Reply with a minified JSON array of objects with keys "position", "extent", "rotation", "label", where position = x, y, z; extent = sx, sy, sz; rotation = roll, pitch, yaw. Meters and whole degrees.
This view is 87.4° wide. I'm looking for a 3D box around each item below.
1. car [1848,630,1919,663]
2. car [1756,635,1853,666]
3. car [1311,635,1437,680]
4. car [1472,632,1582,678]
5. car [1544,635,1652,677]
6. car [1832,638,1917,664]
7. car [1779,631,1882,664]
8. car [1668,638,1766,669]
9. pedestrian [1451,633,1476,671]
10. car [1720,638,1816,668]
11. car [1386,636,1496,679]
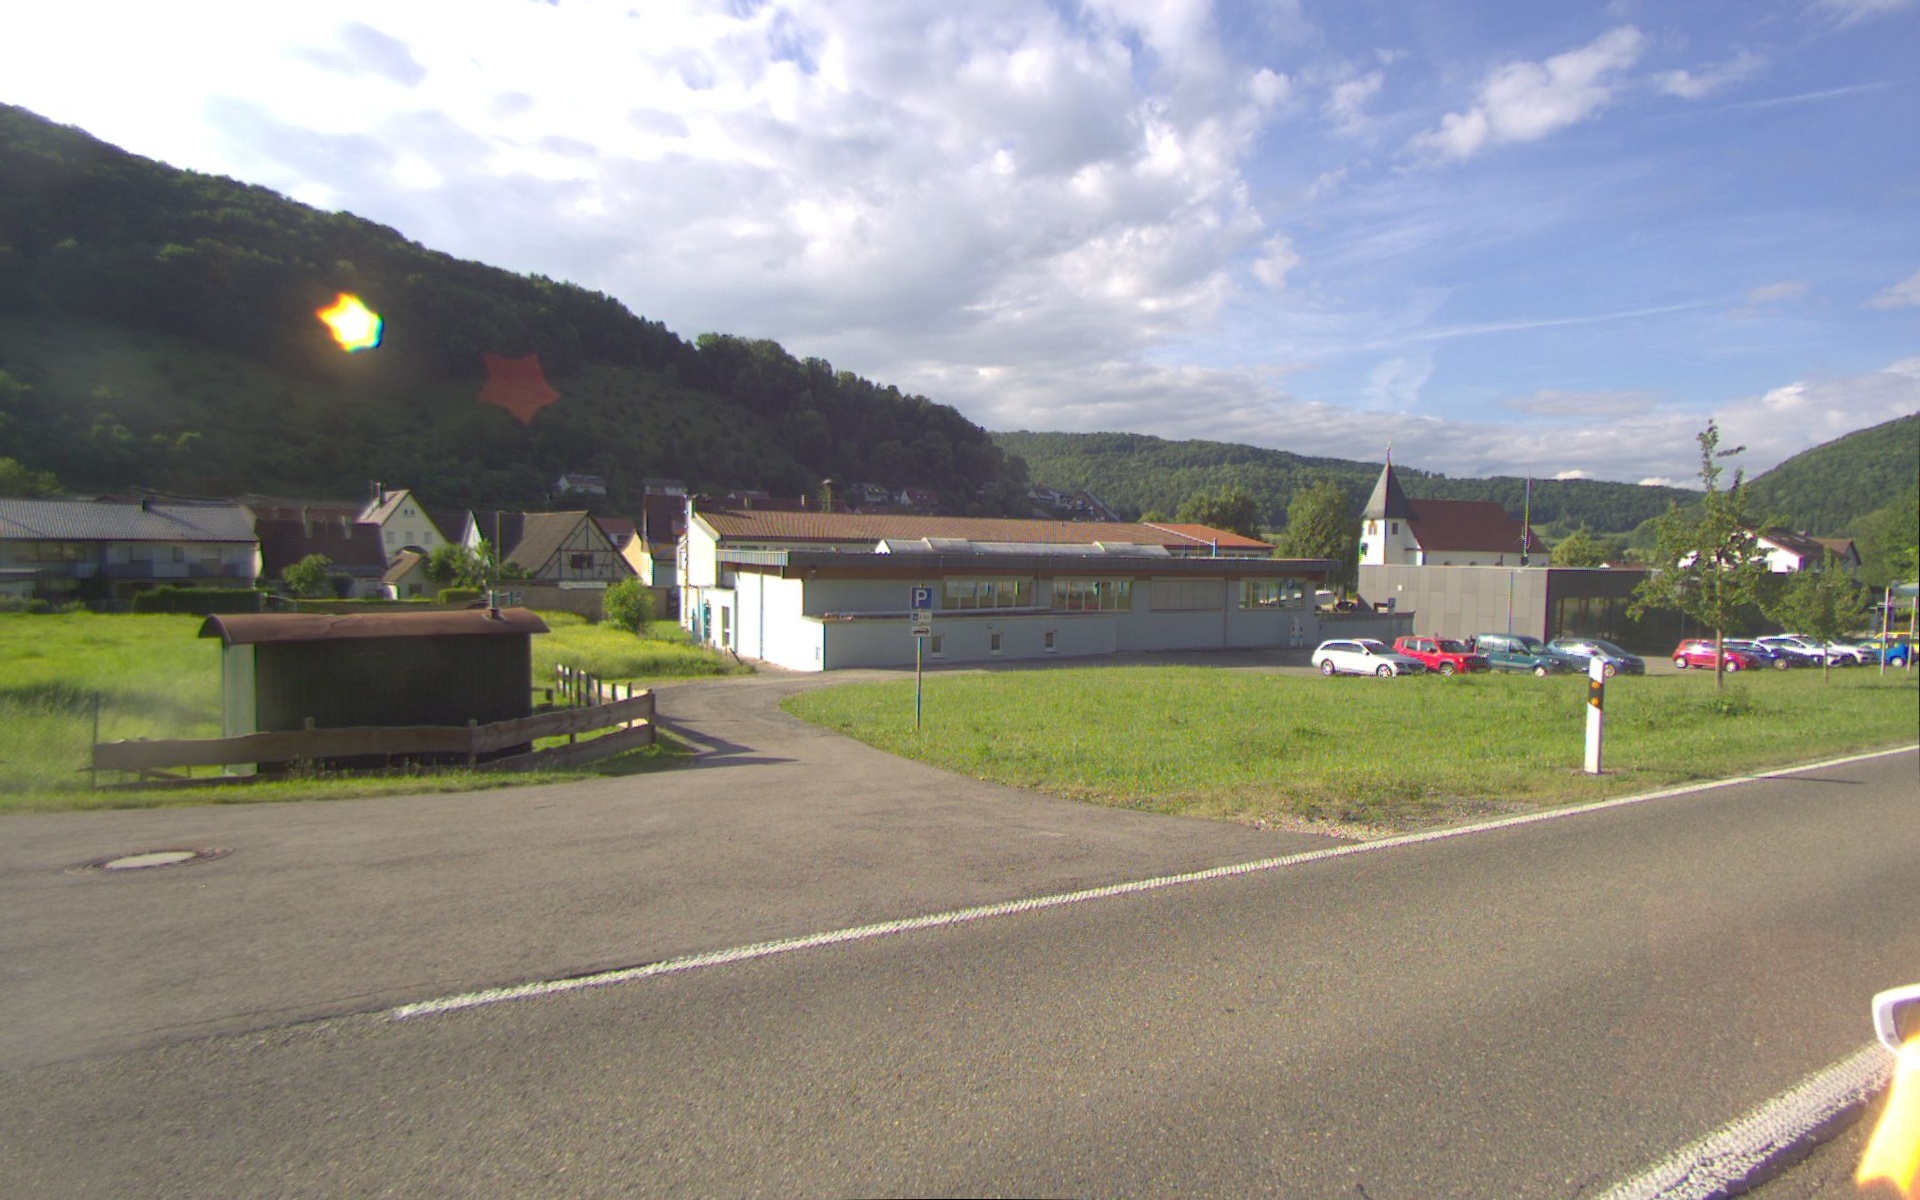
[{"position":[55.496,2.711,59.074],"extent":[1.816,1.839,4.541],"rotation":[1,-1,-24],"label":"car"},{"position":[45.150,2.692,53.788],"extent":[1.574,1.513,3.656],"rotation":[0,-1,-24],"label":"car"},{"position":[16.703,2.281,40.788],"extent":[1.973,1.610,4.626],"rotation":[1,-1,-25],"label":"car"},{"position":[24.647,2.356,43.792],"extent":[1.733,1.745,3.847],"rotation":[1,0,-27],"label":"car"},{"position":[28.867,2.484,45.554],"extent":[1.709,1.744,3.806],"rotation":[1,-1,-25],"label":"car"},{"position":[53.060,2.961,58.329],"extent":[1.642,1.392,3.351],"rotation":[1,-1,-32],"label":"car"},{"position":[47.983,2.613,55.452],"extent":[1.575,1.695,4.066],"rotation":[1,-1,-24],"label":"car"},{"position":[37.748,2.639,50.175],"extent":[1.626,1.463,3.615],"rotation":[1,-1,-24],"label":"car"},{"position":[23.673,2.444,47.198],"extent":[0.699,1.716,0.788],"rotation":[1,1,-37],"label":"pedestrian"},{"position":[42.142,2.723,52.457],"extent":[1.575,1.424,3.615],"rotation":[0,-1,-24],"label":"car"},{"position":[19.709,2.334,41.318],"extent":[1.732,1.600,3.908],"rotation":[1,-1,-25],"label":"car"}]
